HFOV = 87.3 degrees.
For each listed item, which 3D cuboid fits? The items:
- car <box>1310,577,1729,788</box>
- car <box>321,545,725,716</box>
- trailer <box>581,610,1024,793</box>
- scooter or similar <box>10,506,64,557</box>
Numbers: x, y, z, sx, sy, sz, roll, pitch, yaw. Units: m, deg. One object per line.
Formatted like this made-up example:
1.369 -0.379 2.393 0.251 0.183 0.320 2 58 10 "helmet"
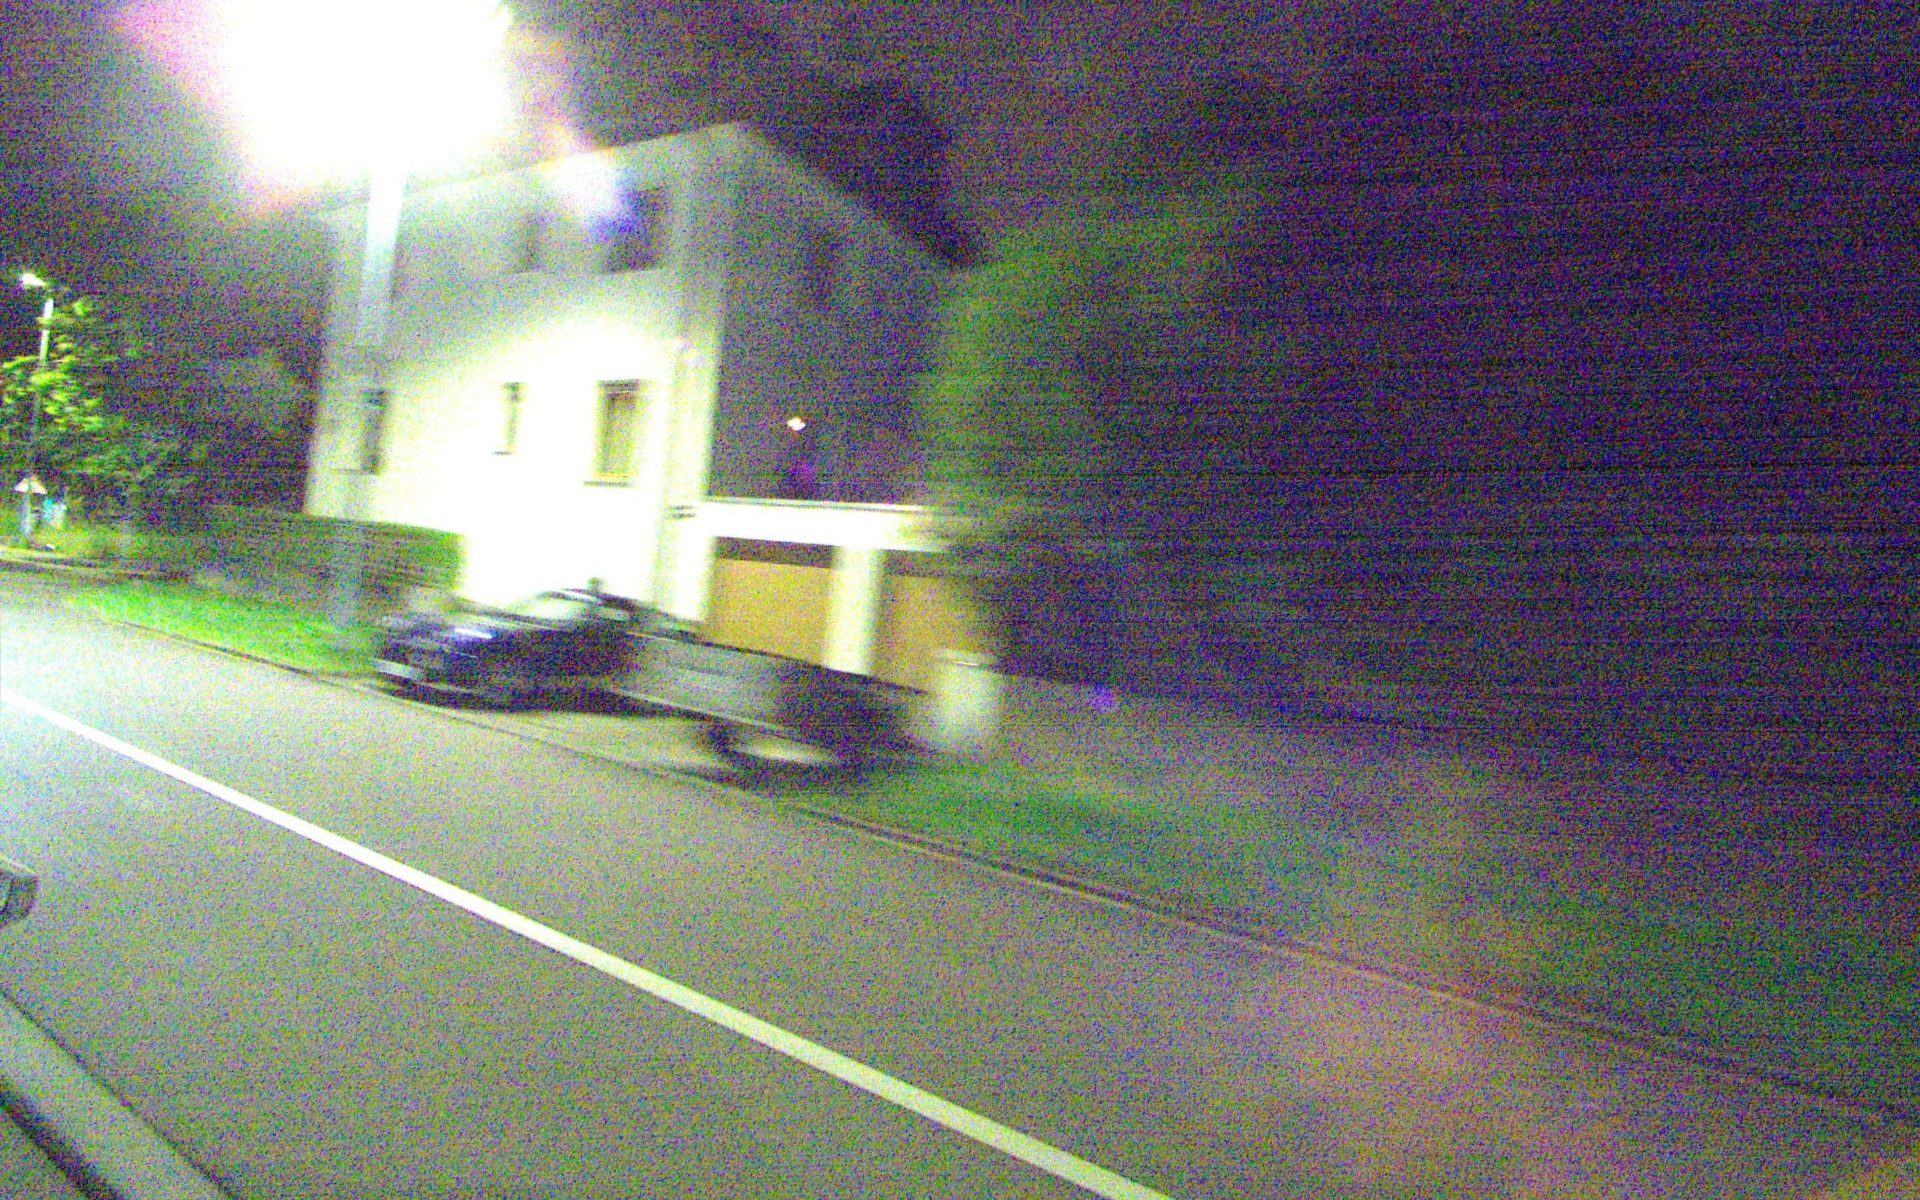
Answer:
7.340 1.005 13.579 4.431 2.038 1.997 7 -1 32 "car"
-4.328 0.404 10.447 1.695 1.245 3.402 7 -4 30 "car"
-1.137 0.893 8.632 1.922 1.013 3.441 7 -4 31 "trailer"
-27.119 -2.021 29.564 1.662 1.296 0.613 7 0 30 "scooter or similar"
